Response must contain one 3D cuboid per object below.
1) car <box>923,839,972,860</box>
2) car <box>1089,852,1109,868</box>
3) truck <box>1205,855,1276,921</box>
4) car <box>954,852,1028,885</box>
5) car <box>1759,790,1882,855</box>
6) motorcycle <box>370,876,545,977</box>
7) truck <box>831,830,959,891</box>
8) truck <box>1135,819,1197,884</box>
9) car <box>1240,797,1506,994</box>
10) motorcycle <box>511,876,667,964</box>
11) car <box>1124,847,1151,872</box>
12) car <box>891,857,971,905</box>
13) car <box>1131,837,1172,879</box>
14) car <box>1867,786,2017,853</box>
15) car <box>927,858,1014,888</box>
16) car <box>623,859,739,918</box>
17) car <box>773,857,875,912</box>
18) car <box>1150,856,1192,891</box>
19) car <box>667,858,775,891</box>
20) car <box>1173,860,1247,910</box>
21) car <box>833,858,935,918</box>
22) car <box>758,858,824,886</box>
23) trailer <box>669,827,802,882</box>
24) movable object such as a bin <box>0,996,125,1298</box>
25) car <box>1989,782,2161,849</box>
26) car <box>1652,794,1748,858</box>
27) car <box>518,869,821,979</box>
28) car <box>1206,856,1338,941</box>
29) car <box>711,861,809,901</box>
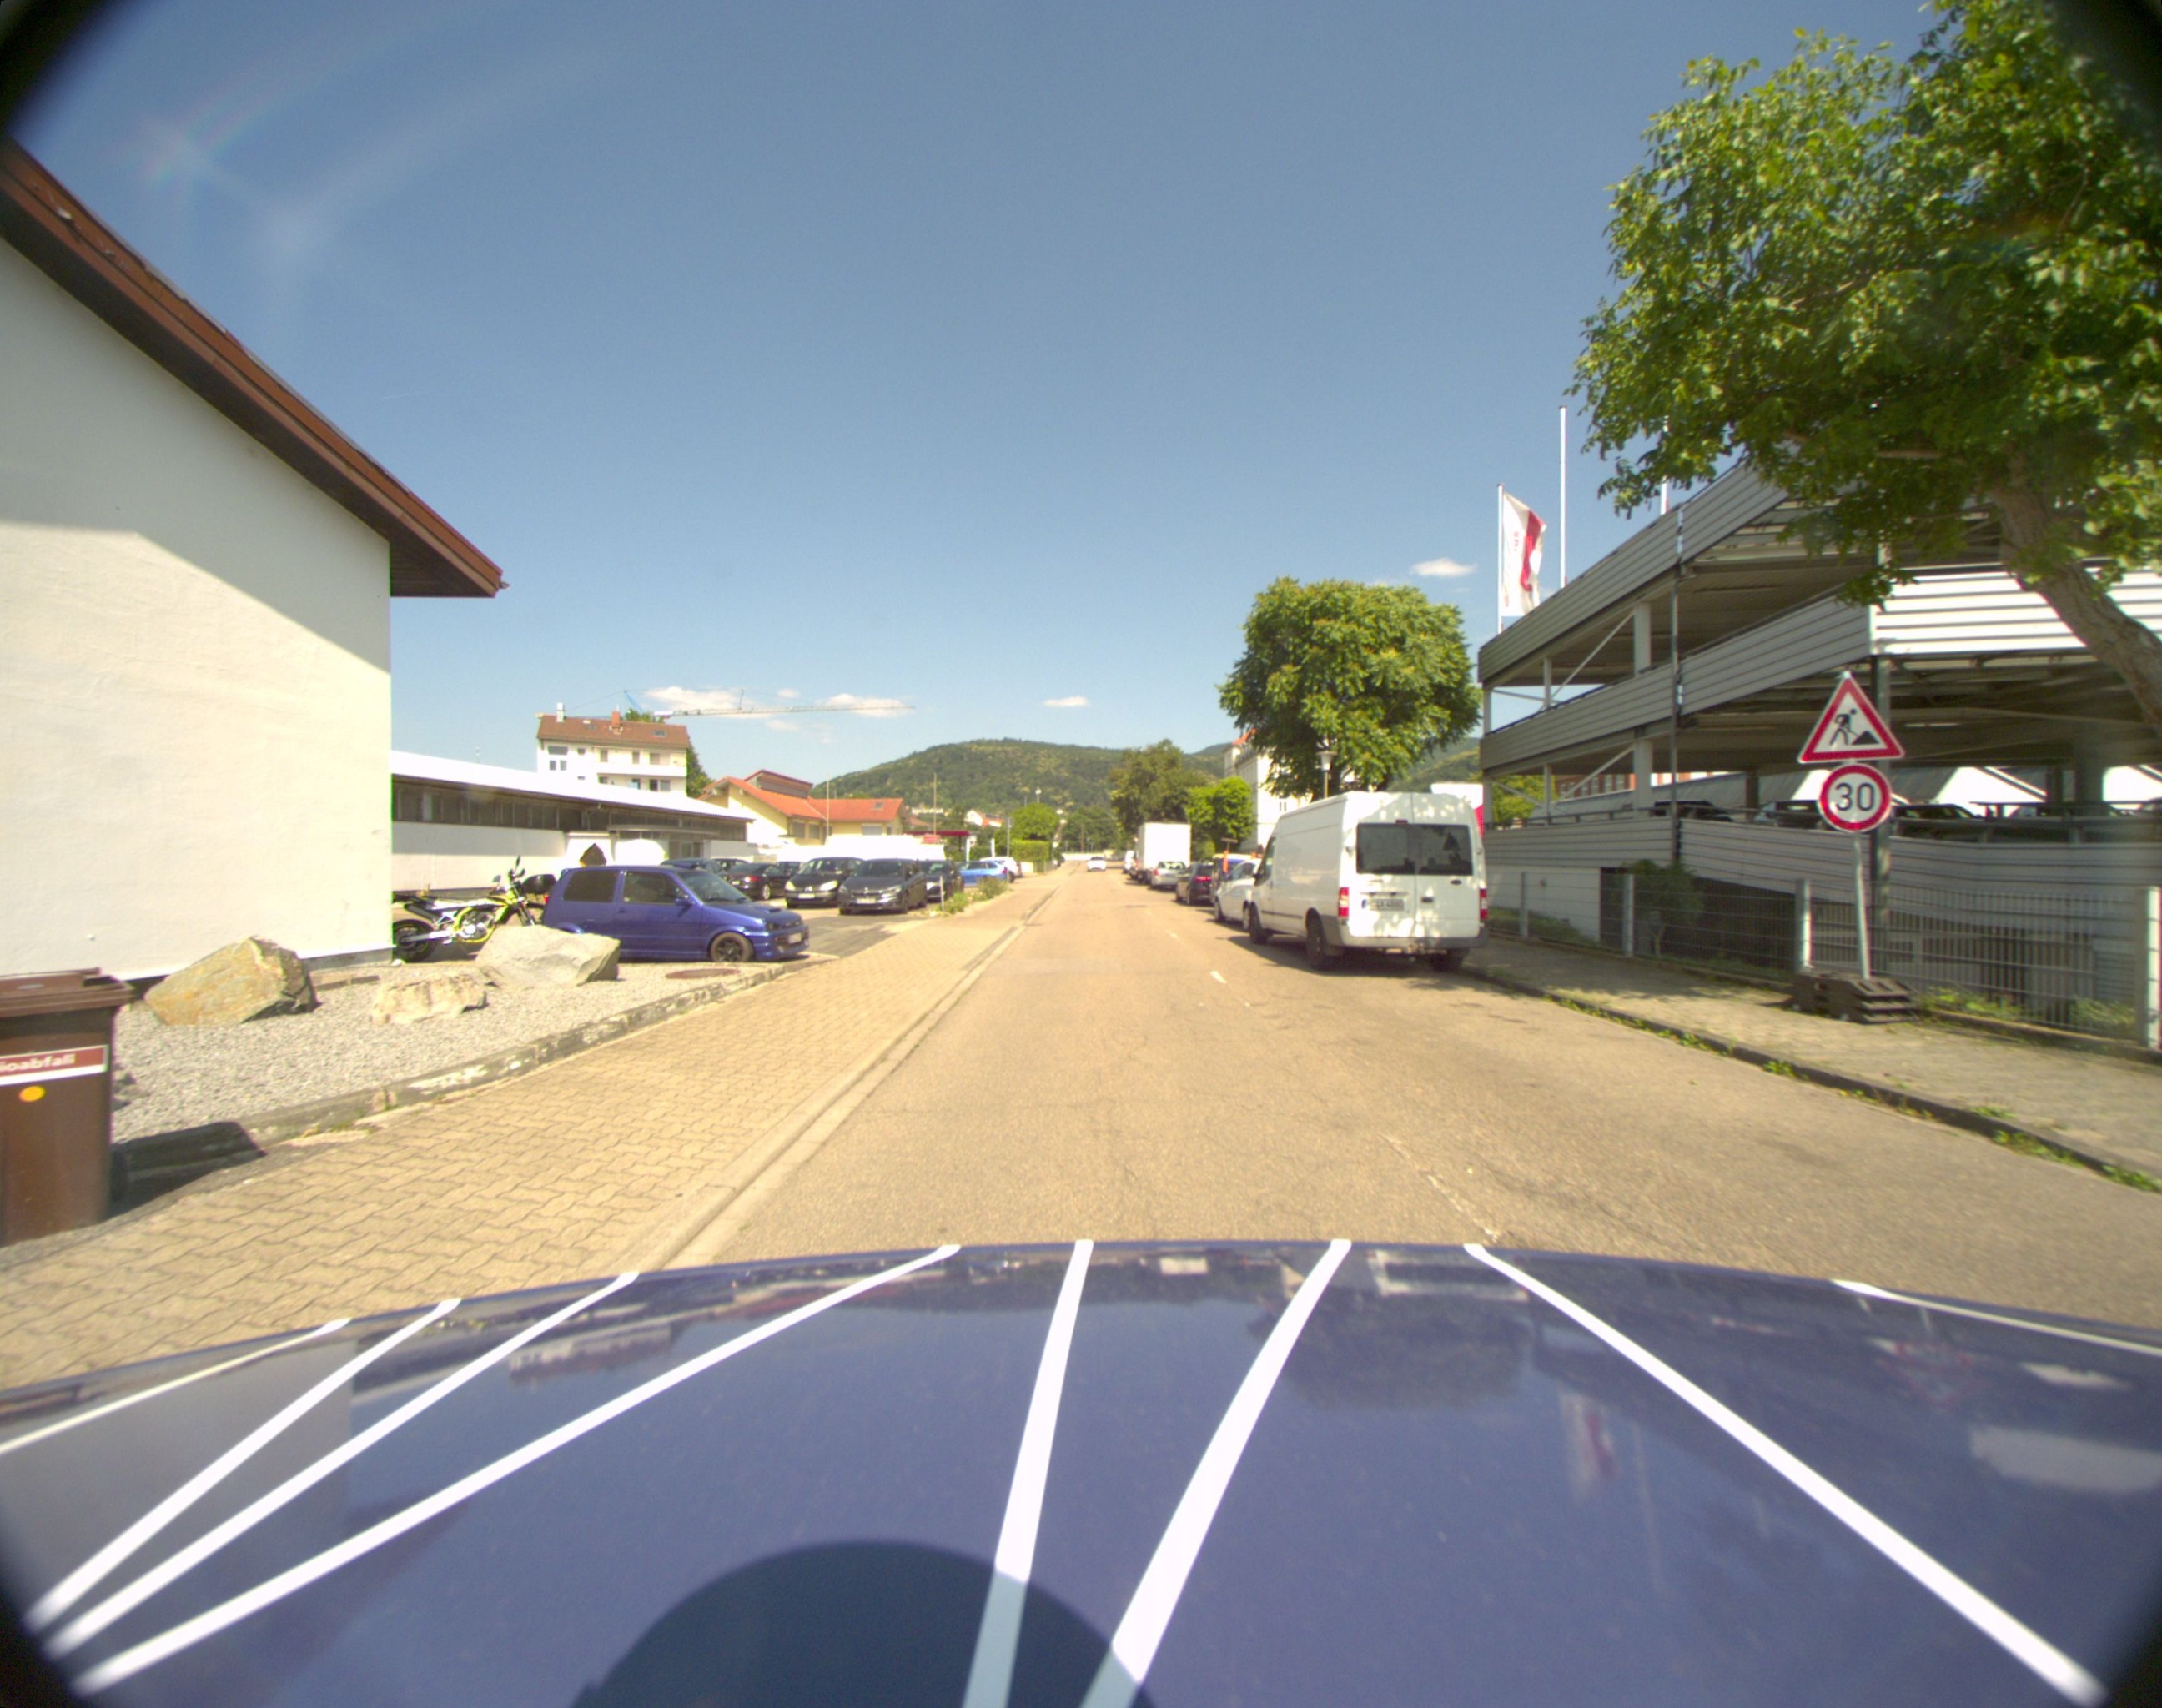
[{"bbox_3d":[-17.591,-0.638,100.077,6.025,2.663,2.255,0,1,-22],"label":"car"},{"bbox_3d":[1.819,0.597,76.209,1.895,1.412,4.170,2,1,3],"label":"car"},{"bbox_3d":[4.284,0.867,20.742,1.141,1.612,3.140,2,0,-1],"label":"truck"},{"bbox_3d":[-5.495,0.882,46.763,4.211,1.672,1.766,-5,1,0],"label":"car"},{"bbox_3d":[20.758,-0.892,21.514,1.812,1.662,4.007,1,3,34],"label":"car"},{"bbox_3d":[-8.580,0.956,10.566,1.758,1.272,0.794,1,1,-30],"label":"motorcycle"},{"bbox_3d":[-12.058,0.393,49.660,7.536,3.403,2.527,-3,1,1],"label":"truck"},{"bbox_3d":[4.646,-0.179,42.925,2.692,3.347,7.128,0,1,0],"label":"truck"},{"bbox_3d":[4.091,0.503,11.829,2.010,2.352,5.228,1,0,-1],"label":"car"},{"bbox_3d":[-7.593,1.001,11.784,1.874,1.272,0.796,1,1,-2],"label":"motorcycle"},{"bbox_3d":[4.889,0.415,66.414,1.976,2.002,5.055,1,1,1],"label":"car"},{"bbox_3d":[-5.293,0.904,27.432,1.863,1.558,4.951,0,0,0],"label":"car"},{"bbox_3d":[4.591,0.197,50.639,2.173,2.581,6.919,1,1,1],"label":"car"},{"bbox_3d":[23.834,-0.962,21.231,1.812,1.662,4.007,1,3,34],"label":"car"},{"bbox_3d":[-5.904,1.006,40.927,4.363,1.433,1.892,-2,0,0],"label":"car"},{"bbox_3d":[-11.449,0.923,22.073,1.766,1.487,4.145,1,0,-10],"label":"car"},{"bbox_3d":[-8.005,0.901,23.977,1.763,1.585,3.620,0,0,4],"label":"car"},{"bbox_3d":[4.279,0.884,36.564,1.745,1.512,4.311,1,0,4],"label":"car"},{"bbox_3d":[-15.537,0.841,33.047,1.711,1.316,4.193,0,0,22],"label":"car"},{"bbox_3d":[4.233,0.963,25.490,1.709,1.454,4.113,1,0,-1],"label":"car"},{"bbox_3d":[-5.574,0.907,22.031,1.816,1.549,4.292,0,0,0],"label":"car"},{"bbox_3d":[-16.024,0.944,42.200,1.890,1.384,4.028,1,1,4],"label":"car"},{"bbox_3d":[-24.936,0.053,55.042,8.350,3.841,3.068,0,1,6],"label":"trailer"},{"bbox_3d":[-3.952,1.056,2.758,0.567,0.940,0.559,1,0,34],"label":"movable object such as a bin"},{"bbox_3d":[27.355,-1.059,21.015,1.812,1.662,4.007,1,3,34],"label":"car"},{"bbox_3d":[17.743,-0.820,21.953,1.812,1.662,4.007,1,3,34],"label":"car"},{"bbox_3d":[-5.506,0.901,10.475,3.261,1.390,1.674,0,-1,1],"label":"car"},{"bbox_3d":[4.143,0.903,17.179,1.709,1.615,3.972,2,0,-4],"label":"car"},{"bbox_3d":[-11.697,0.950,27.959,1.645,1.316,4.101,0,0,3],"label":"car"}]
